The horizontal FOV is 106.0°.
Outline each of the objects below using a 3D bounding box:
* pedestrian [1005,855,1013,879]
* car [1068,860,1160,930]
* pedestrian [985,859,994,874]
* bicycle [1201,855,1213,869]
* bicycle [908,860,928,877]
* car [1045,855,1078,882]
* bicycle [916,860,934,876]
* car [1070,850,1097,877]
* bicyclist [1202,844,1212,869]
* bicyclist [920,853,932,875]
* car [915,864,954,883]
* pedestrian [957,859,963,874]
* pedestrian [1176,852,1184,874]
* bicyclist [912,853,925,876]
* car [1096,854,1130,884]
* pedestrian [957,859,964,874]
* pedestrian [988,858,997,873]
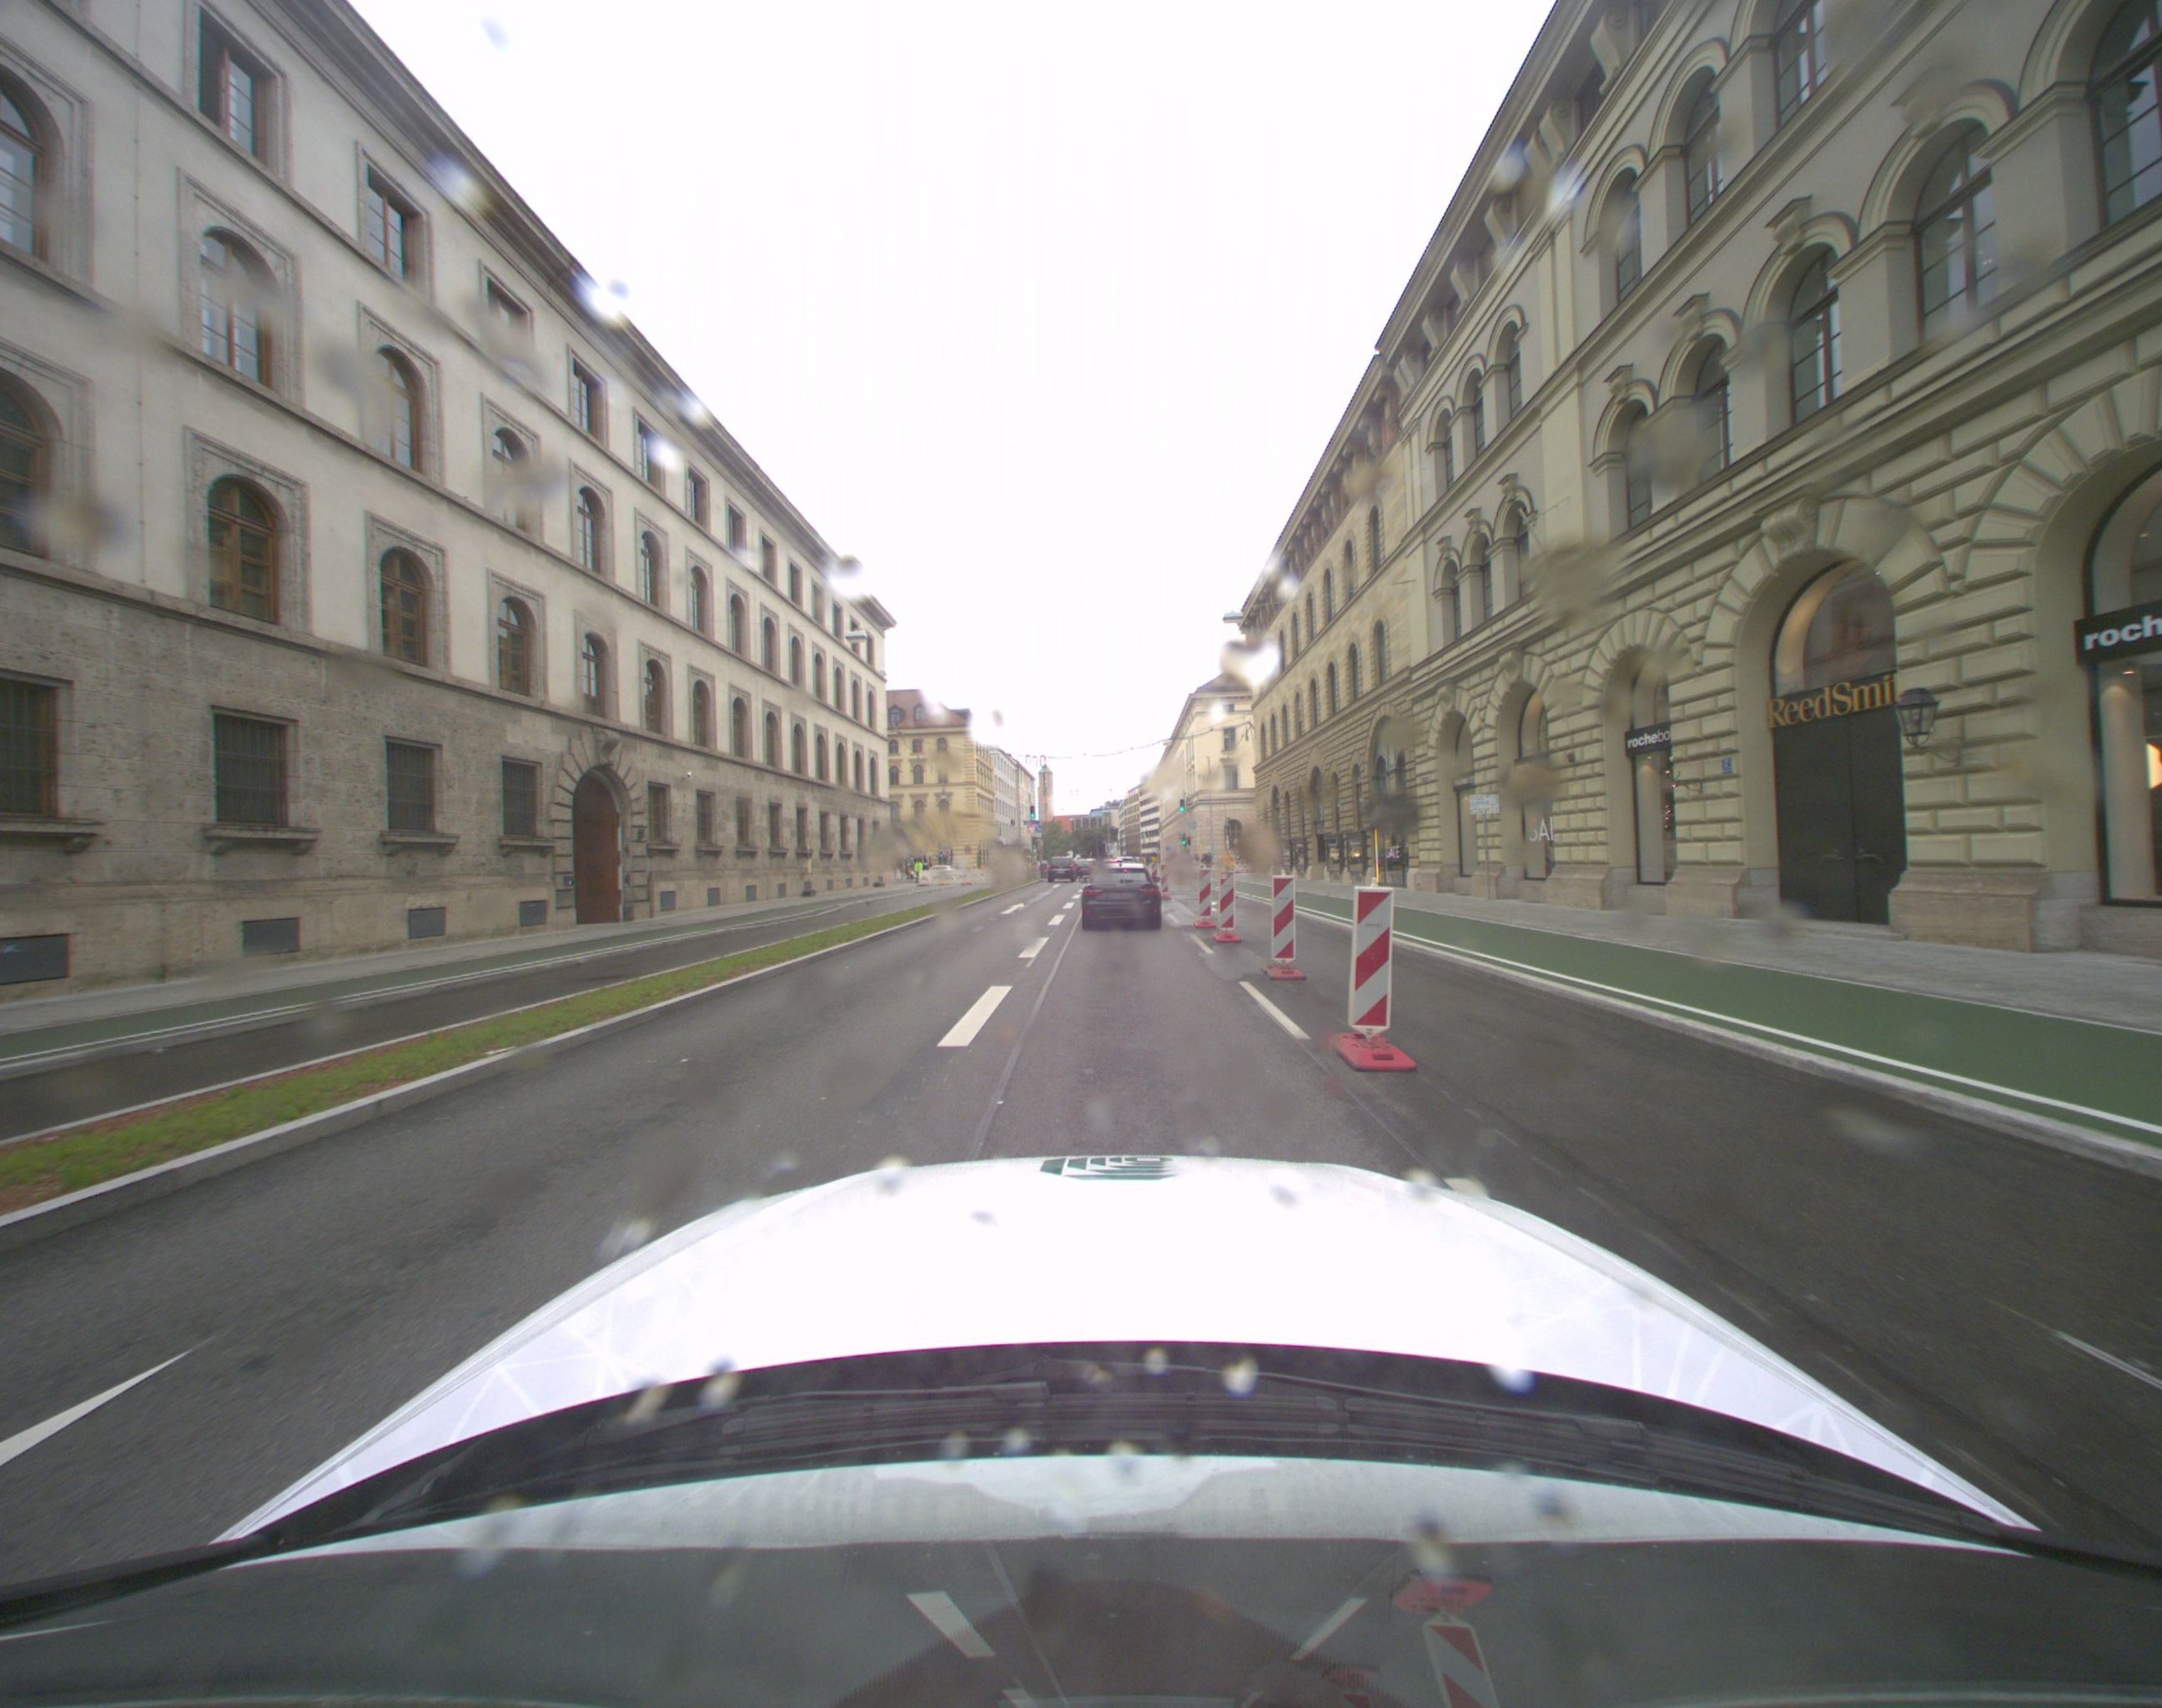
[{"bbox_3d":[-5.377,0.947,60.845,0.512,1.743,1.040,-2,-1,-8],"label":"pedestrian"},{"bbox_3d":[0.750,0.852,18.735,1.856,1.388,4.002,-1,0,2],"label":"car"},{"bbox_3d":[-10.711,1.428,95.252,0.727,1.772,0.765,-1,-1,23],"label":"pedestrian"},{"bbox_3d":[9.451,0.611,61.059,0.583,1.011,1.654,-1,0,-3],"label":"bicycle"},{"bbox_3d":[-12.472,1.070,62.449,0.783,1.242,2.453,-1,0,6],"label":"bicycle"},{"bbox_3d":[-1.204,0.933,52.727,1.858,1.601,3.852,-2,0,2],"label":"car"},{"bbox_3d":[-12.585,1.130,65.913,0.783,1.242,2.203,-1,0,6],"label":"bicycle"},{"bbox_3d":[0.219,0.725,64.239,1.986,2.013,4.001,-2,0,1],"label":"car"},{"bbox_3d":[9.450,0.187,61.006,0.565,1.854,0.798,-1,0,-3],"label":"bicyclist"},{"bbox_3d":[-12.577,0.838,65.990,0.794,1.776,0.690,-1,-1,5],"label":"bicyclist"},{"bbox_3d":[-15.148,2.020,84.363,3.737,1.798,1.863,-2,-1,-7],"label":"car"},{"bbox_3d":[-14.027,1.441,94.532,0.733,1.772,0.737,-1,-1,-8],"label":"pedestrian"},{"bbox_3d":[7.244,0.636,59.778,0.529,1.620,0.674,-1,0,4],"label":"pedestrian"},{"bbox_3d":[-12.462,0.776,62.565,0.794,1.748,0.690,-1,-1,5],"label":"bicyclist"},{"bbox_3d":[1.787,0.826,46.377,1.763,1.617,3.999,-1,0,-1],"label":"car"},{"bbox_3d":[-14.124,1.446,95.290,0.733,1.772,0.737,-1,-1,-8],"label":"pedestrian"},{"bbox_3d":[-10.415,1.400,95.994,0.727,1.772,0.743,-1,-1,23],"label":"pedestrian"}]
